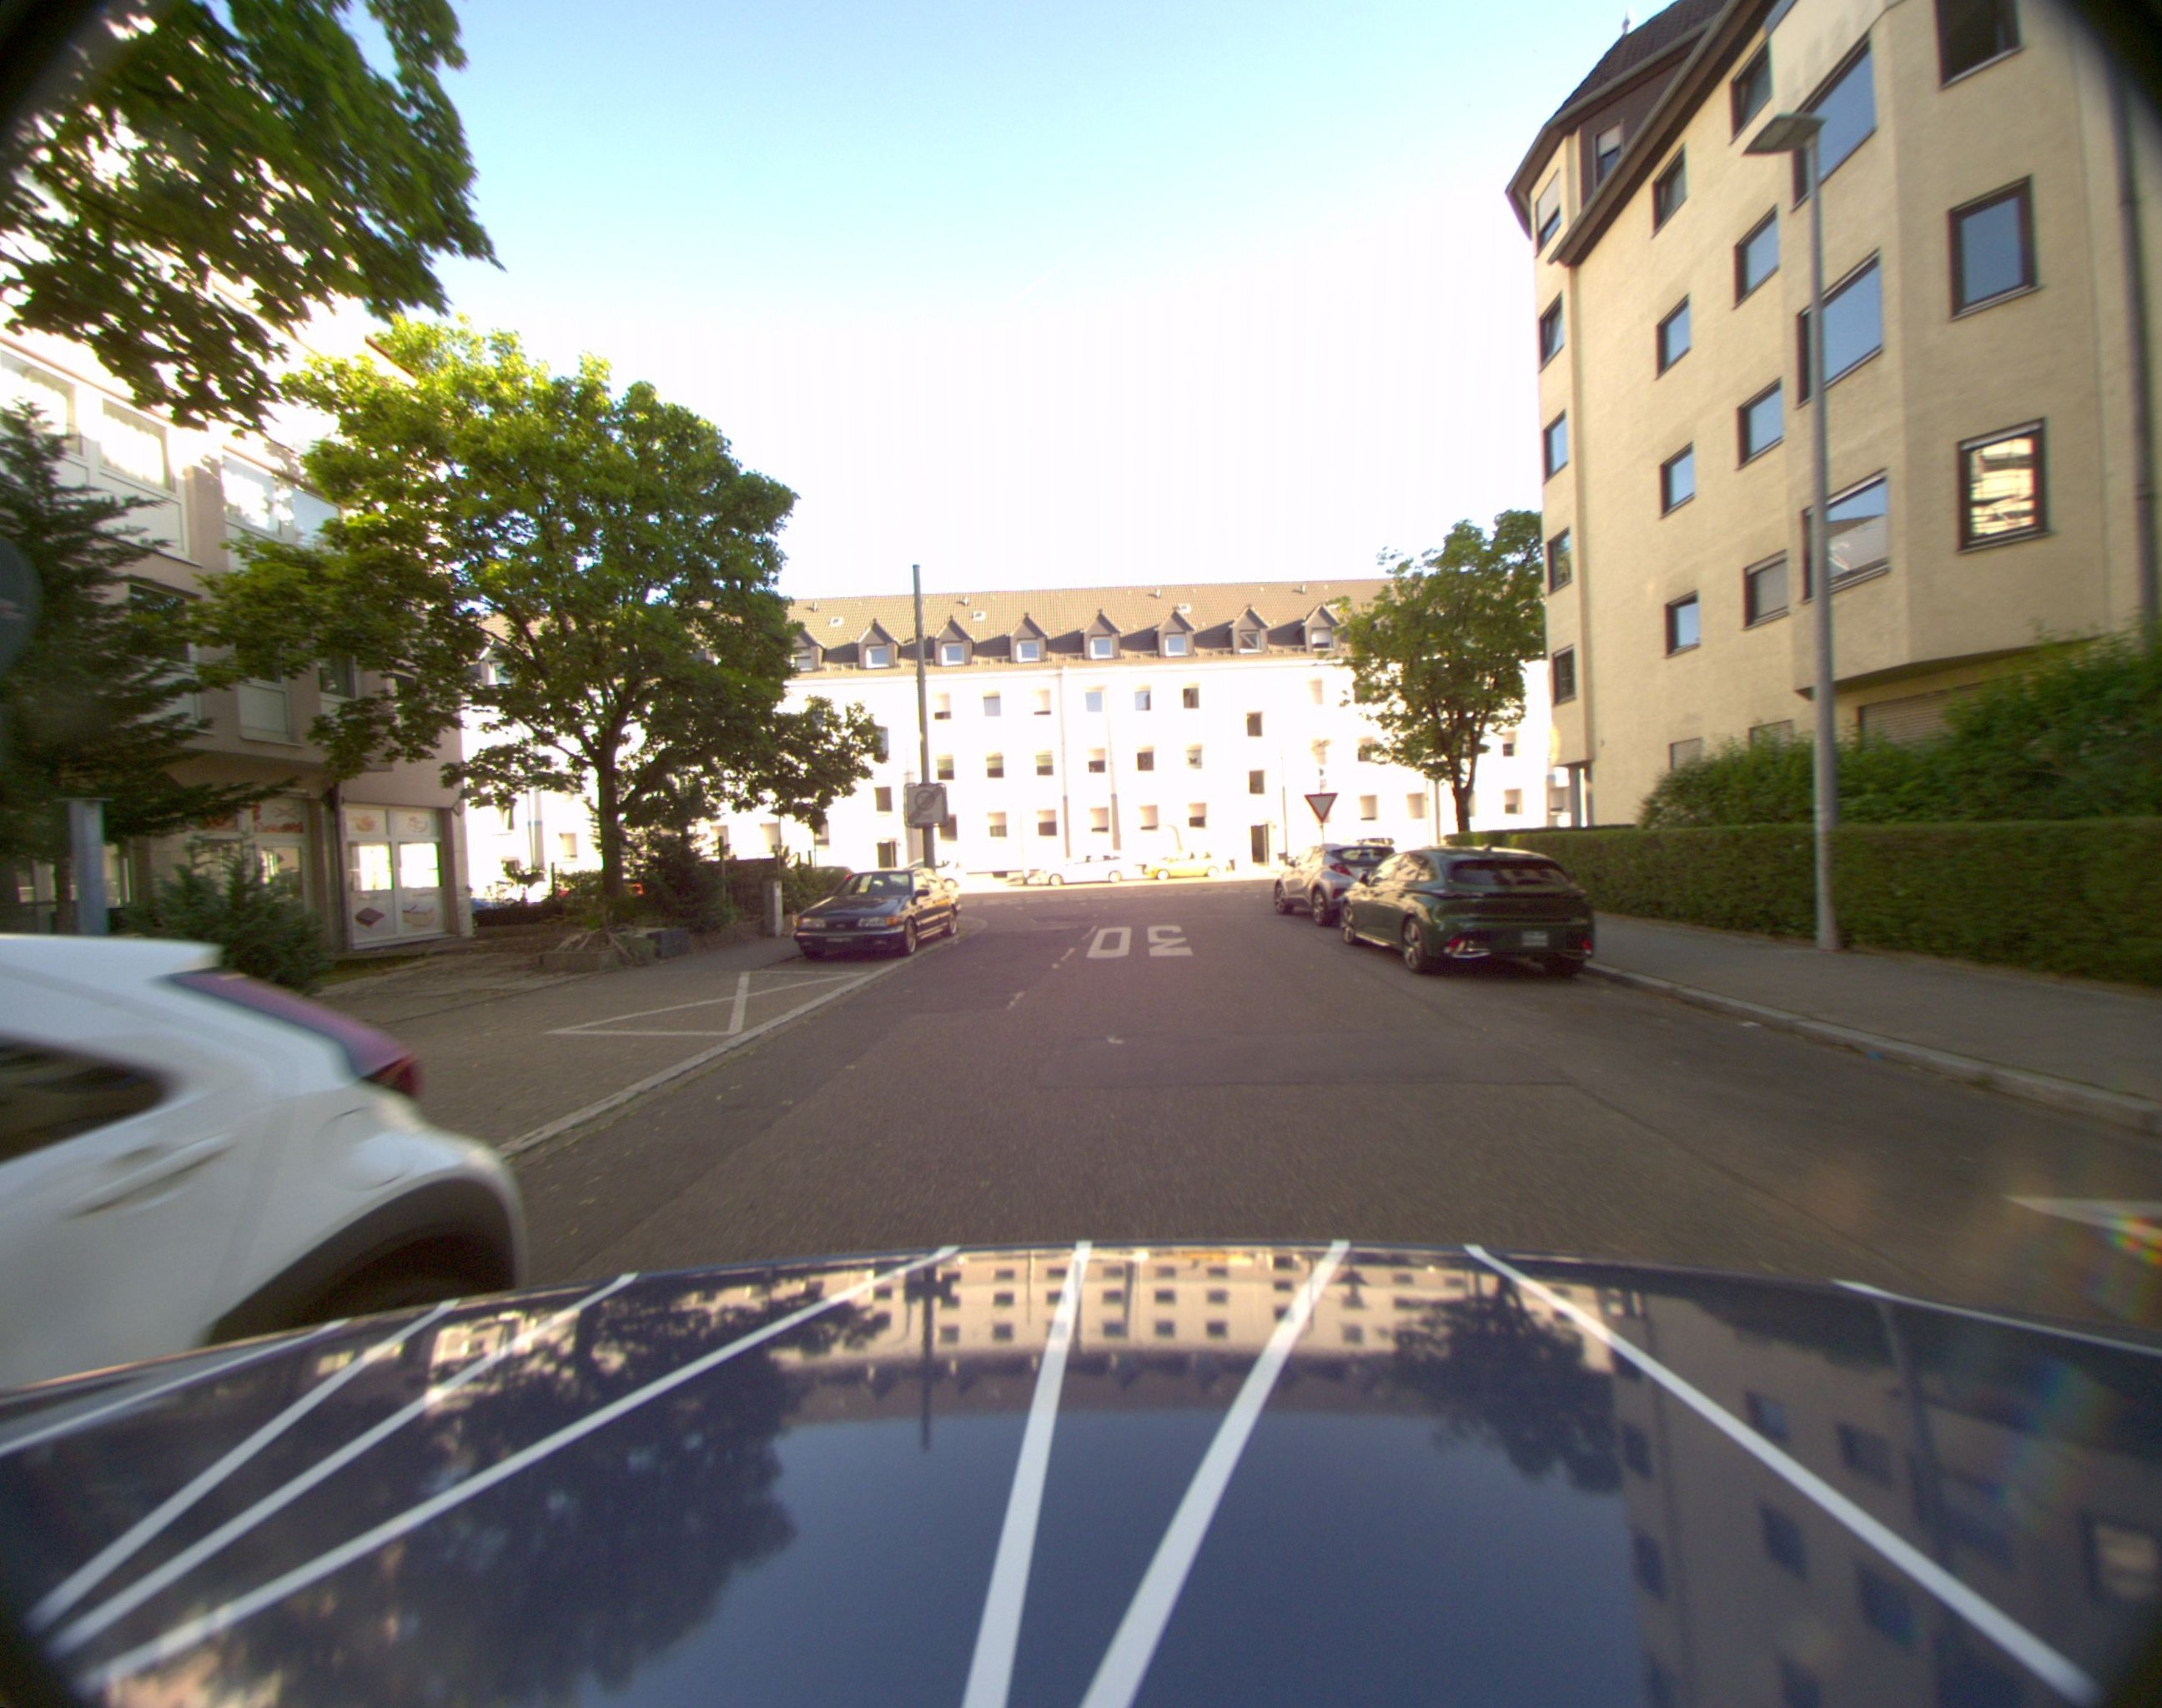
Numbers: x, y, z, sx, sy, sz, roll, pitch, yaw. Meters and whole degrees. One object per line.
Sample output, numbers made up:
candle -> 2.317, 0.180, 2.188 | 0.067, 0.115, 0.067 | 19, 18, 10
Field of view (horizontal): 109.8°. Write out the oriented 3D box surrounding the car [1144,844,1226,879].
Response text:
car -> 4.933, 0.350, 36.397 | 3.612, 1.440, 1.553 | -3, 2, -3

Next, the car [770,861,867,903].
car -> -12.277, 1.295, 35.709 | 3.876, 1.498, 1.648 | -7, 1, -3

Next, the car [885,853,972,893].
car -> -7.135, 0.885, 35.827 | 3.705, 1.598, 1.648 | -4, 1, -3

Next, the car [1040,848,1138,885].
car -> 0.364, 0.565, 36.179 | 4.491, 1.498, 1.945 | -3, 1, -1

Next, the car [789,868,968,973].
car -> -3.347, 1.019, 13.515 | 1.665, 1.400, 4.508 | 0, 1, 4

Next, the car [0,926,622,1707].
car -> -2.449, 1.051, 0.242 | 1.806, 1.527, 3.965 | -4, 1, 6

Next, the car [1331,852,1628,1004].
car -> 4.605, 0.724, 9.600 | 1.770, 1.444, 4.208 | 0, 1, 4

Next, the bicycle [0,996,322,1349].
bicycle -> -4.534, 1.248, 3.083 | 1.972, 1.148, 0.751 | 0, 1, -10

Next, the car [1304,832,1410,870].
car -> 13.321, -0.139, 36.826 | 4.284, 1.548, 1.999 | -4, 1, -4

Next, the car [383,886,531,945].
car -> -17.371, 1.687, 21.252 | 2.880, 1.348, 1.262 | -3, 2, -6

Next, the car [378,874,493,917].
car -> -31.370, 1.992, 36.990 | 3.997, 1.771, 1.694 | -3, 1, -2

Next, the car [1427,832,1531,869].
car -> 19.246, -0.157, 36.819 | 4.073, 1.675, 1.922 | -1, 1, -4

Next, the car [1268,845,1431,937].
car -> 5.066, 0.601, 14.932 | 1.723, 1.547, 4.073 | -1, 1, -1

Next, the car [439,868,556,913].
car -> -27.047, 1.673, 35.318 | 3.997, 1.771, 1.694 | -3, 1, -2
